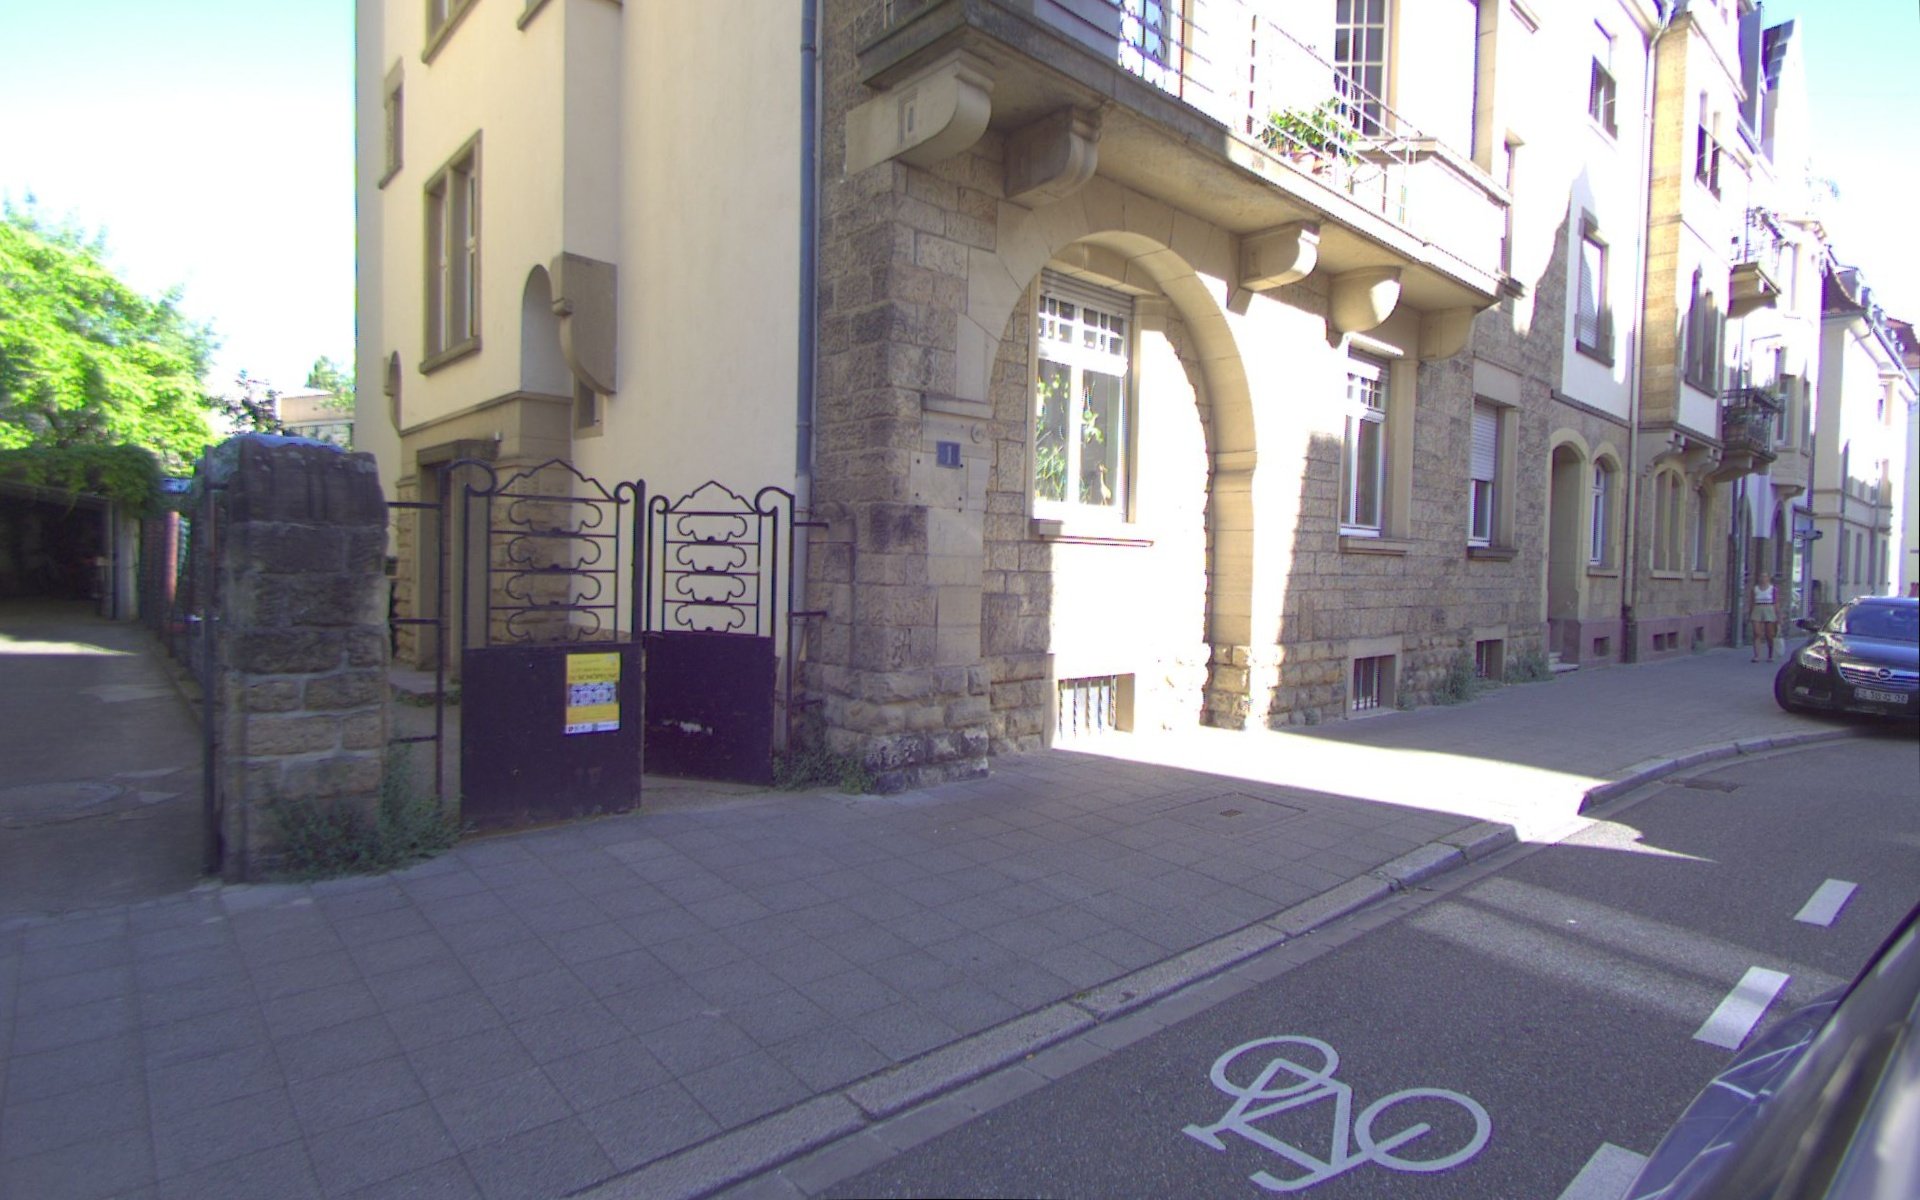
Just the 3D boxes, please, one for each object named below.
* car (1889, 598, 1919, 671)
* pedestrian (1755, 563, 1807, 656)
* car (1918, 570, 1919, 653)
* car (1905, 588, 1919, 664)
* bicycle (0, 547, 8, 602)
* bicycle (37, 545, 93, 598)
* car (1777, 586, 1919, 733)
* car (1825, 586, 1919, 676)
[{"bbox_3d":[19.512,0.654,19.720,3.755,1.362,1.830,0,0,-43],"label":"car"},{"bbox_3d":[15.930,0.173,19.636,0.685,1.743,0.578,0,3,-41],"label":"pedestrian"},{"bbox_3d":[25.671,0.297,25.567,3.753,2.060,1.831,0,0,-42],"label":"car"},{"bbox_3d":[22.463,0.567,22.553,3.755,1.616,1.830,0,0,-43],"label":"car"},{"bbox_3d":[-18.975,-0.508,19.587,1.980,1.021,0.643,4,5,43],"label":"bicycle"},{"bbox_3d":[-18.259,-0.604,20.637,1.980,1.021,0.643,4,5,43],"label":"bicycle"},{"bbox_3d":[11.511,0.639,12.146,3.930,1.557,1.997,0,0,-41],"label":"car"},{"bbox_3d":[15.872,0.475,16.724,3.930,1.362,1.832,0,0,-41],"label":"car"}]
